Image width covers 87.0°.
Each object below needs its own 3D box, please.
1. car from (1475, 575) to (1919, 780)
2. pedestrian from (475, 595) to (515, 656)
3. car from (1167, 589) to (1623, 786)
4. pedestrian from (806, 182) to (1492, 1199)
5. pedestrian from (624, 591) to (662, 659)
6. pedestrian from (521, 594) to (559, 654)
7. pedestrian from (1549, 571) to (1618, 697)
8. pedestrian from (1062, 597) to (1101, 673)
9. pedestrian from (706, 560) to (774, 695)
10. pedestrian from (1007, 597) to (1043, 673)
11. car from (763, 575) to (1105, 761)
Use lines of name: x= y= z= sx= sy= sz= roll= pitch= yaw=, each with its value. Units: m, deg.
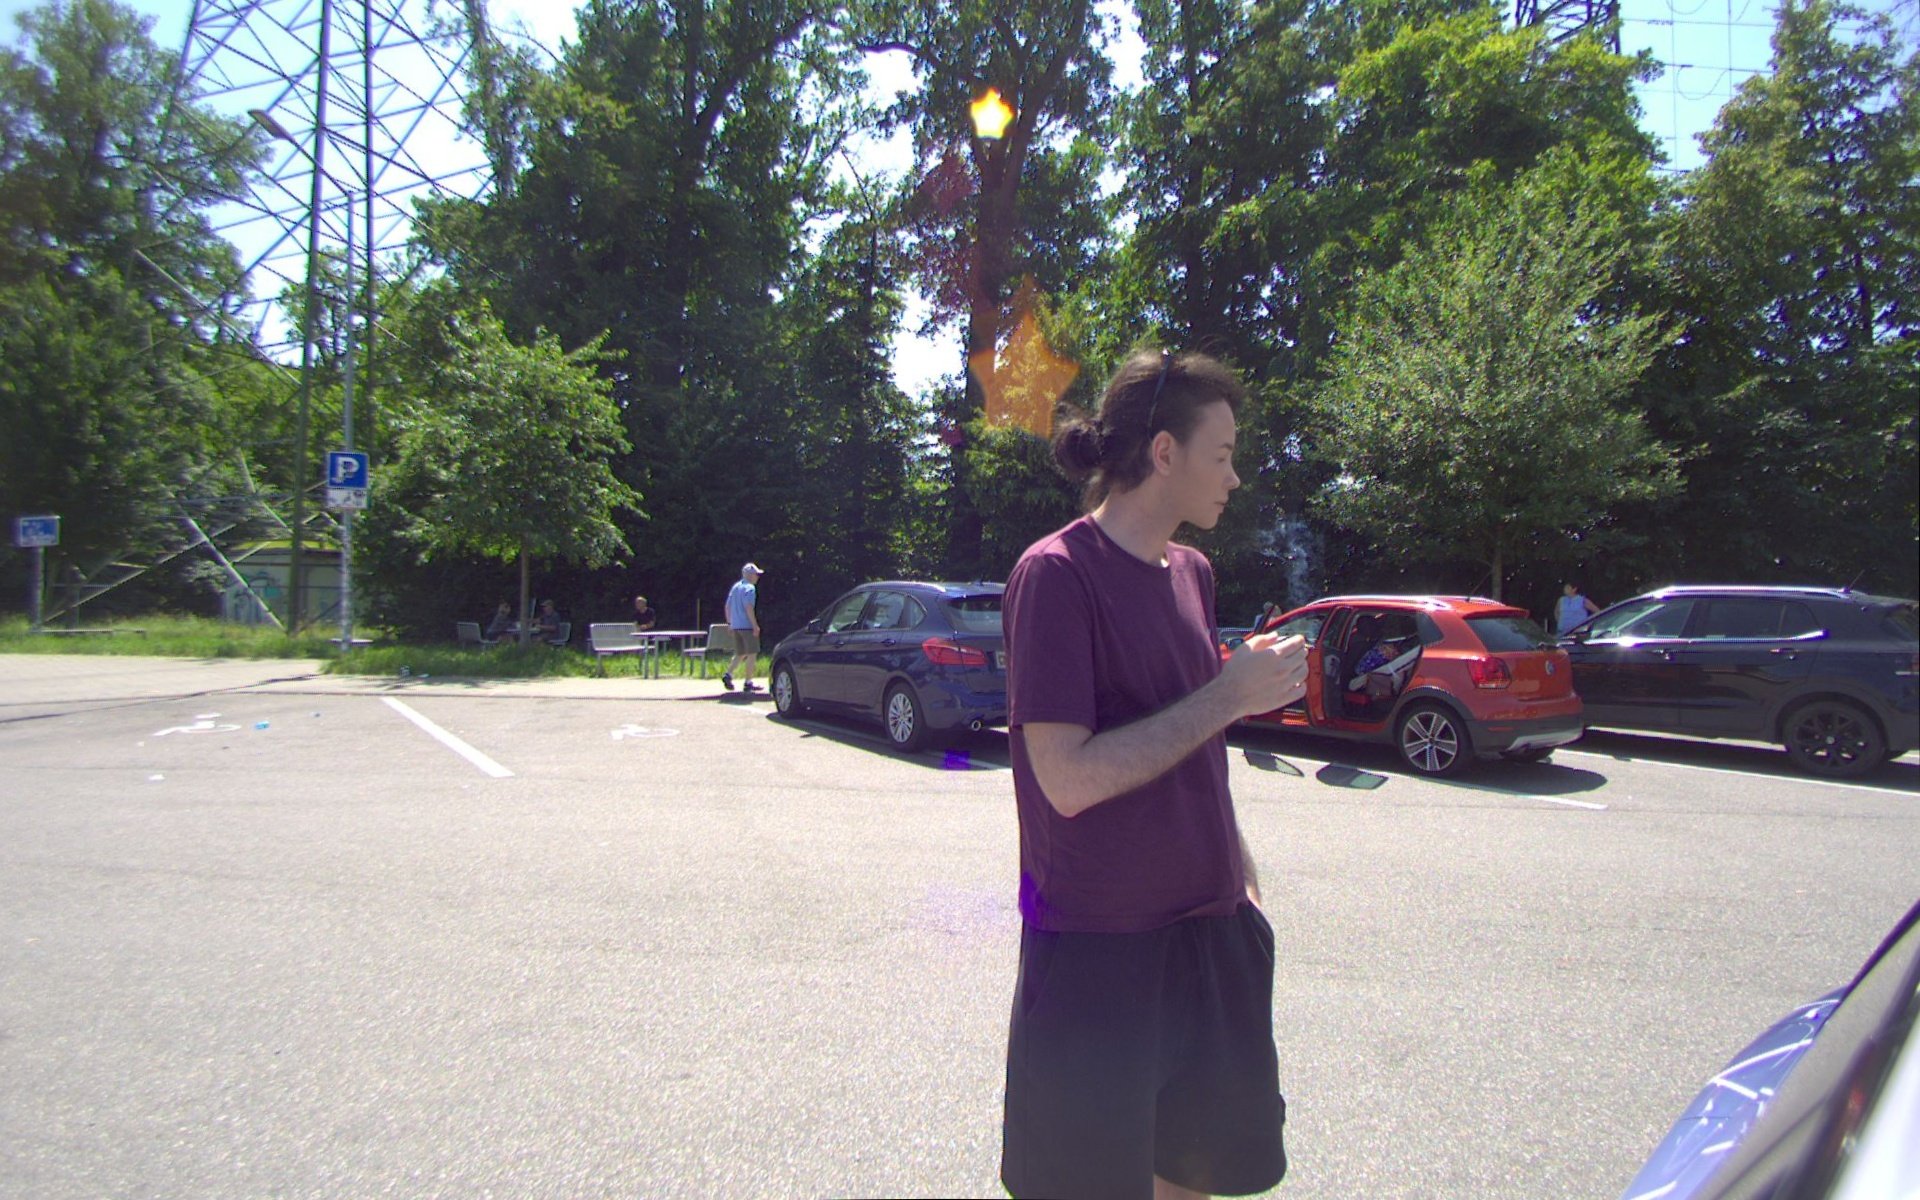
car: x=7.237 y=0.593 z=9.711 sx=1.707 sy=1.607 sz=3.732 roll=1 pitch=0 yaw=-39
pedestrian: x=-10.499 y=0.554 z=22.846 sx=0.687 sy=1.352 sz=0.563 roll=0 pitch=0 yaw=-40
car: x=3.871 y=0.643 z=9.597 sx=1.559 sy=1.467 sz=3.737 roll=1 pitch=0 yaw=-33
pedestrian: x=0.221 y=0.429 z=1.724 sx=0.843 sy=1.857 sz=0.866 roll=0 pitch=0 yaw=-16
pedestrian: x=-6.670 y=0.520 z=21.322 sx=0.553 sy=1.408 sz=0.700 roll=0 pitch=0 yaw=2
pedestrian: x=-9.742 y=0.544 z=23.484 sx=0.687 sy=1.352 sz=0.563 roll=0 pitch=0 yaw=-40
pedestrian: x=9.407 y=0.499 z=15.297 sx=0.754 sy=1.854 sz=0.518 roll=0 pitch=0 yaw=15
pedestrian: x=2.034 y=0.579 z=17.019 sx=0.576 sy=1.251 sz=0.697 roll=0 pitch=-1 yaw=1
pedestrian: x=-2.950 y=0.351 z=13.624 sx=0.664 sy=1.754 sz=0.832 roll=0 pitch=0 yaw=5
pedestrian: x=1.086 y=0.583 z=17.085 sx=0.576 sy=1.251 sz=0.697 roll=0 pitch=-1 yaw=1
car: x=-0.466 y=0.555 z=10.670 sx=1.776 sy=1.562 sz=3.940 roll=1 pitch=0 yaw=-34
